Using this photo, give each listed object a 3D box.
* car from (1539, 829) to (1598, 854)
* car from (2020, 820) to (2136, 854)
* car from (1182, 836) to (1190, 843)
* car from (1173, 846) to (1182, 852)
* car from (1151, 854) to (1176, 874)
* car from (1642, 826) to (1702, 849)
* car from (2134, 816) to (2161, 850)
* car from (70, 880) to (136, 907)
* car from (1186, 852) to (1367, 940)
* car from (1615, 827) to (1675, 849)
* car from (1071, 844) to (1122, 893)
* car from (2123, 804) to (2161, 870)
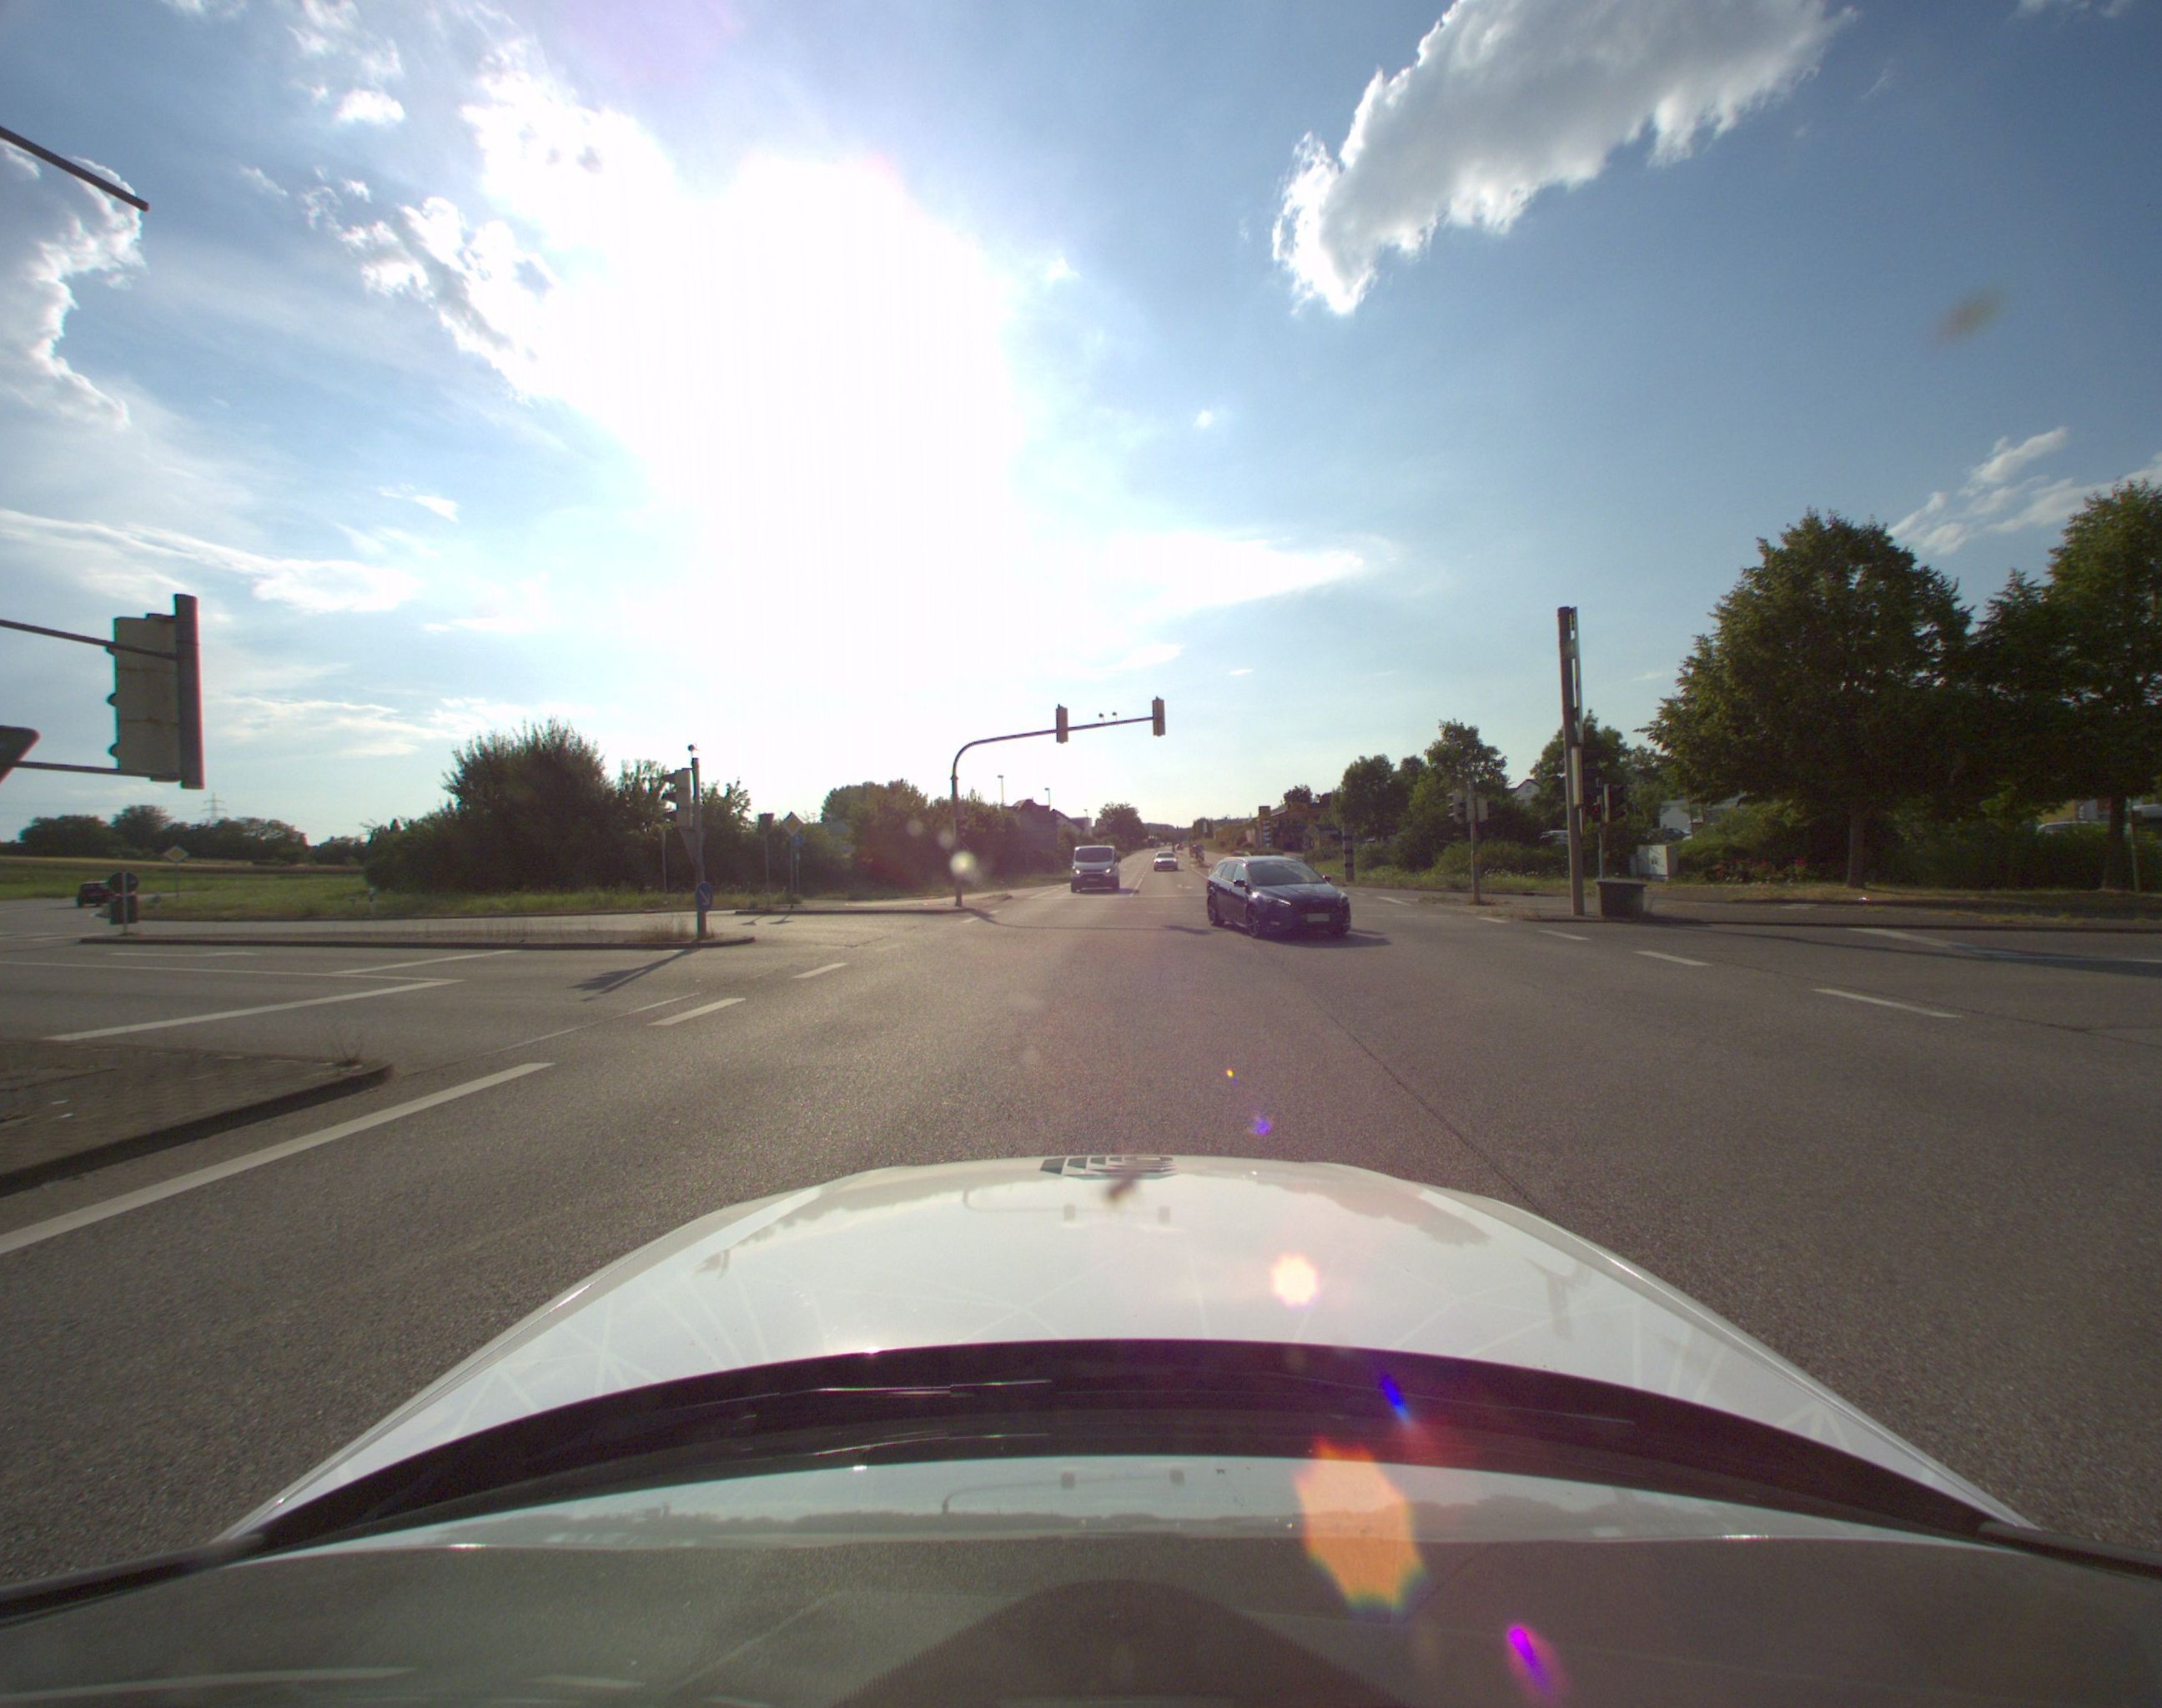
[{"bbox_3d":[42.106,-1.066,70.355,4.659,2.014,1.953,0,-1,-22],"label":"car"},{"bbox_3d":[47.356,-0.786,38.744,1.576,1.509,3.116,0,-1,-11],"label":"car"},{"bbox_3d":[31.333,-4.288,243.333,1.986,2.014,4.001,0,-1,1],"label":"car"},{"bbox_3d":[23.078,-1.248,194.769,1.734,1.352,3.204,0,-1,1],"label":"car"},{"bbox_3d":[6.452,0.787,63.953,1.848,1.514,4.960,-1,-1,5],"label":"car"},{"bbox_3d":[53.462,-1.447,73.710,4.667,2.014,1.989,0,-1,-16],"label":"car"},{"bbox_3d":[52.415,-1.019,38.351,1.570,1.550,3.224,0,-1,-28],"label":"car"},{"bbox_3d":[-59.747,2.393,49.827,1.736,1.500,3.813,0,-1,-37],"label":"car"},{"bbox_3d":[3.691,0.742,16.239,1.790,1.497,4.282,0,-1,-13],"label":"car"},{"bbox_3d":[52.541,-1.462,75.906,4.926,2.014,1.989,0,-1,-16],"label":"car"},{"bbox_3d":[0.747,0.554,35.651,1.891,1.947,4.826,0,1,5],"label":"car"},{"bbox_3d":[43.321,-0.652,31.622,5.139,2.506,1.987,0,-1,-20],"label":"car"}]
